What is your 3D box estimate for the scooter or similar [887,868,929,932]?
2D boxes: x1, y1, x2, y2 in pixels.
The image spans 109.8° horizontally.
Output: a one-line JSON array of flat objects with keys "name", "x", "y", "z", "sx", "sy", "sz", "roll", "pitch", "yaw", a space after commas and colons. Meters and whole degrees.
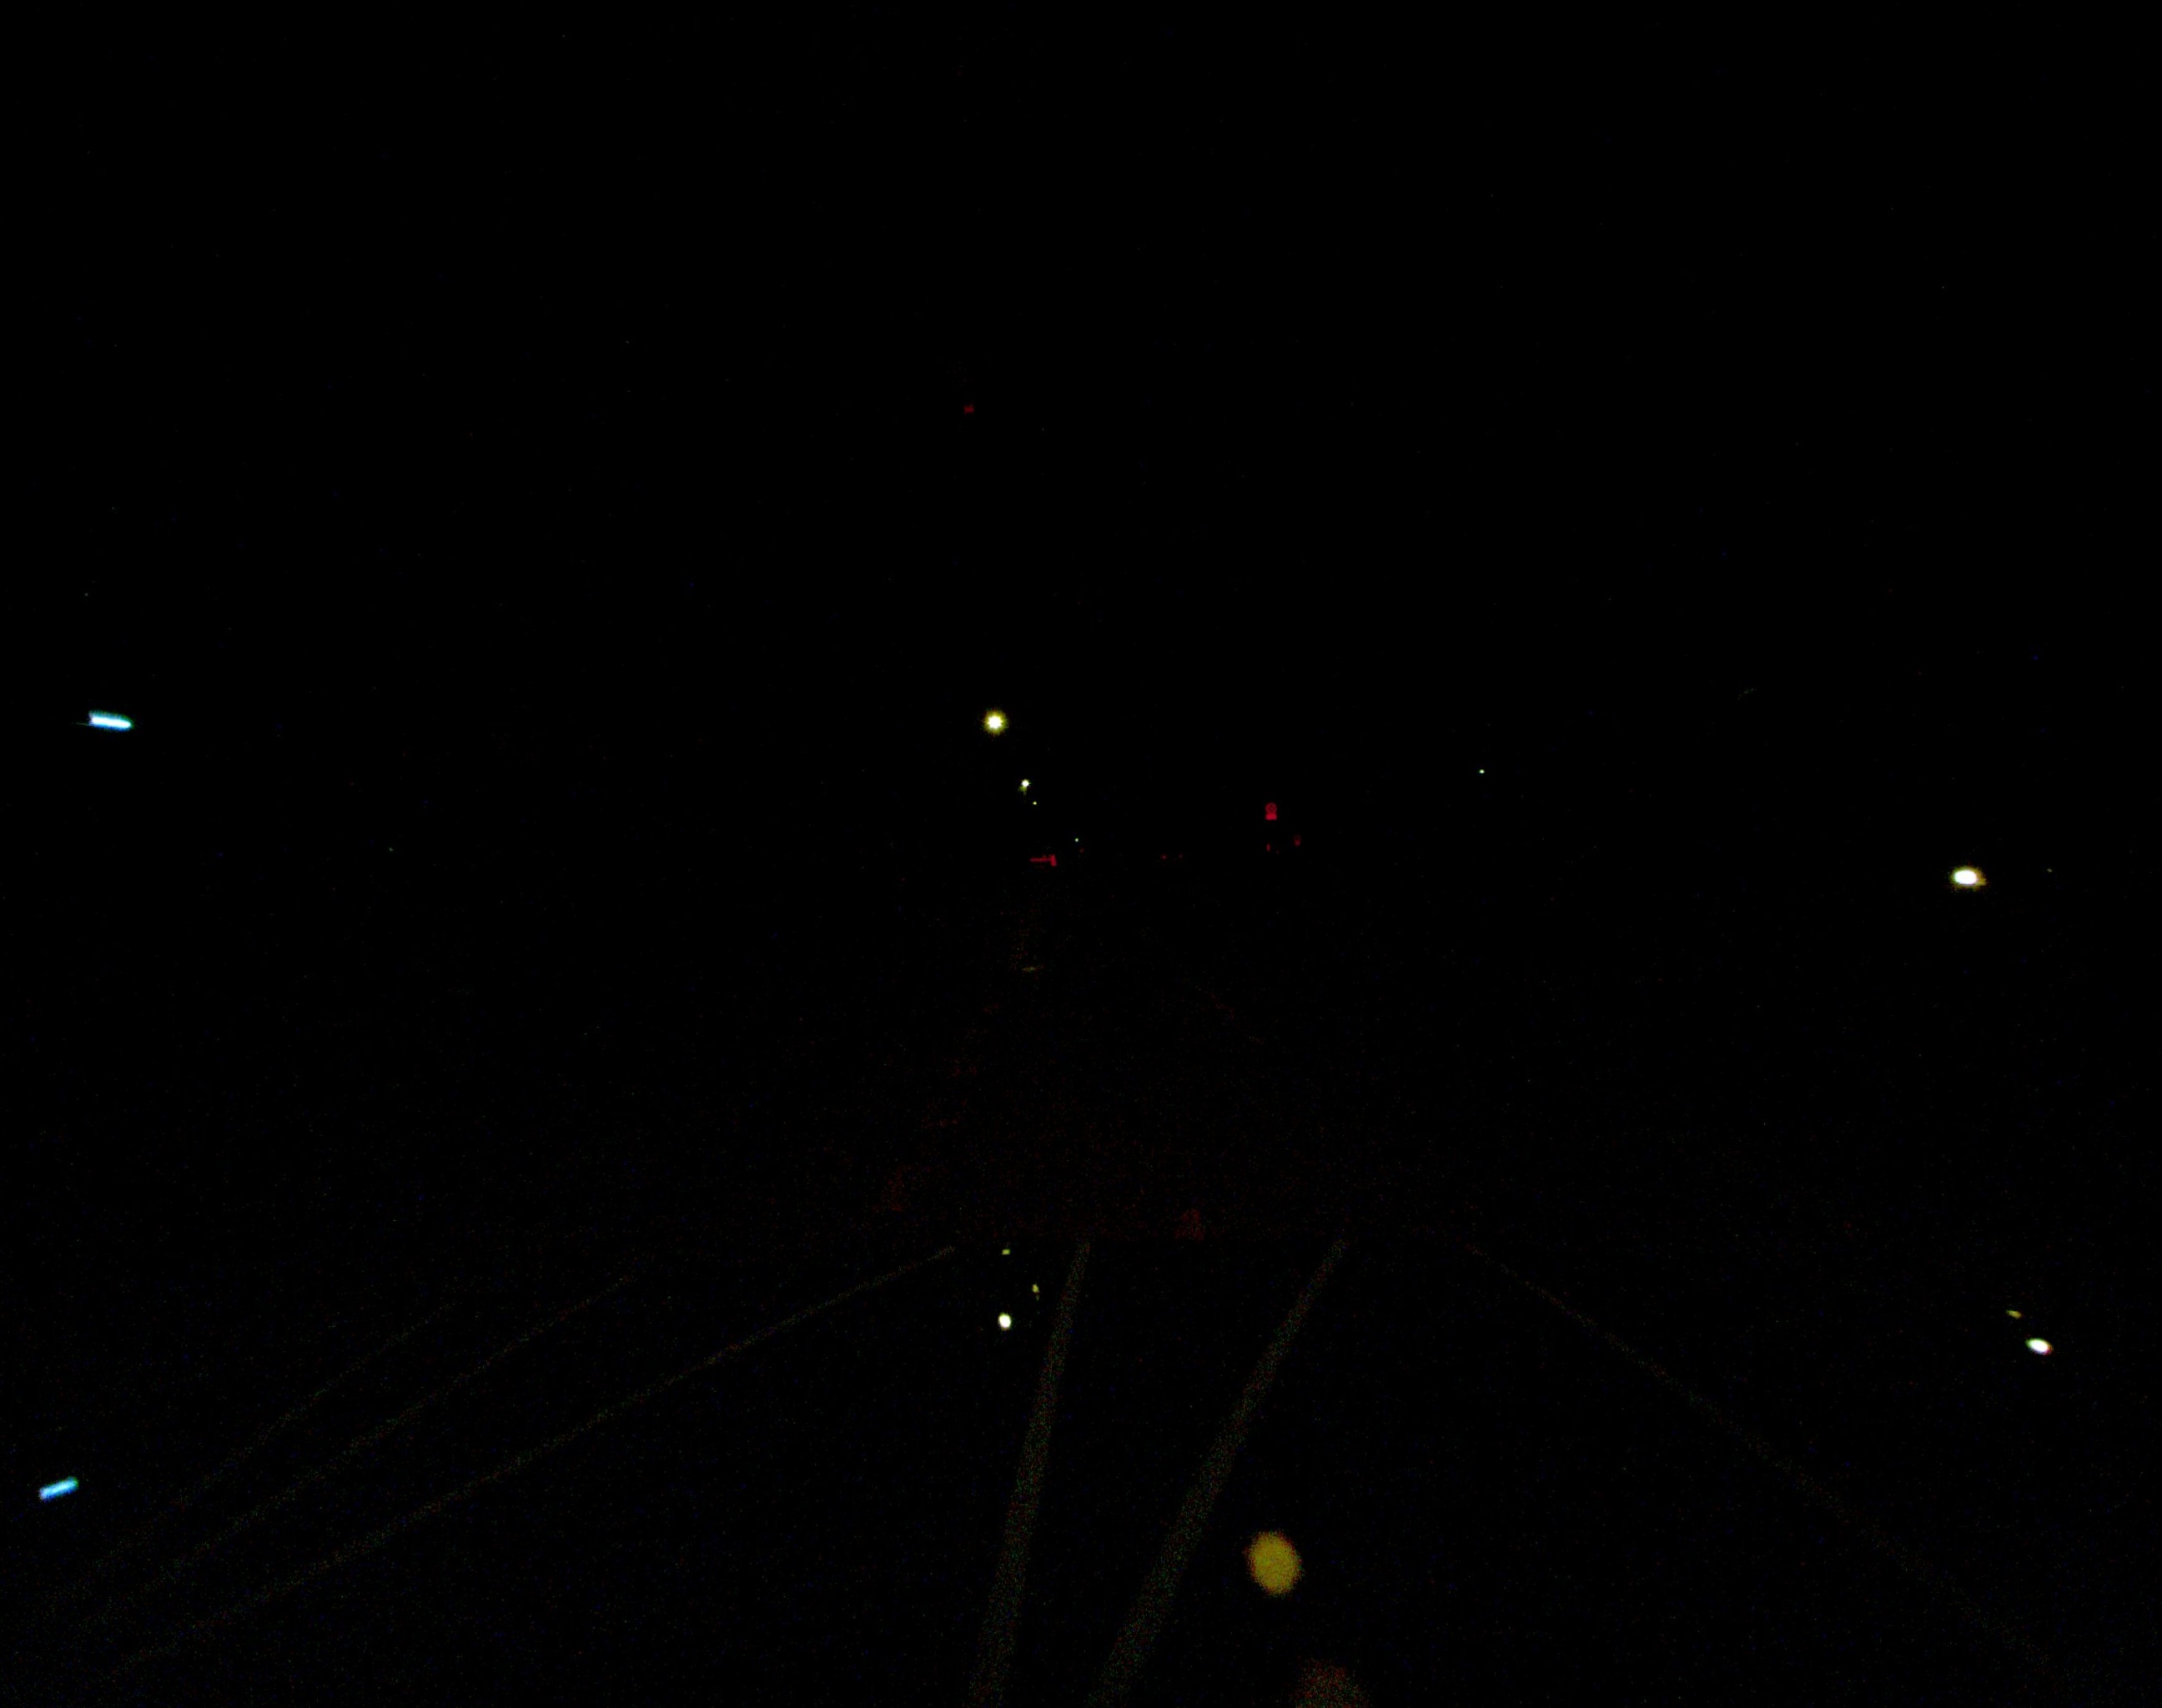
[{"name": "scooter or similar", "x": -3.663, "y": 0.959, "z": 16.190, "sx": 0.570, "sy": 1.271, "sz": 1.391, "roll": 0, "pitch": 0, "yaw": 0}]

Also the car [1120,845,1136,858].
[{"name": "car", "x": 6.148, "y": -0.333, "z": 100.177, "sx": 1.911, "sy": 1.445, "sz": 3.999, "roll": -3, "pitch": 2, "yaw": 1}]

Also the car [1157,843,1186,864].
[{"name": "car", "x": 7.228, "y": -0.048, "z": 61.005, "sx": 1.911, "sy": 1.445, "sz": 3.999, "roll": -3, "pitch": 2, "yaw": 1}]

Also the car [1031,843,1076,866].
[{"name": "car", "x": -2.563, "y": 0.022, "z": 70.645, "sx": 3.997, "sy": 1.821, "sz": 1.912, "roll": -3, "pitch": 2, "yaw": 0}]

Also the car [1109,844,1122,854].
[{"name": "car", "x": 5.400, "y": -0.815, "z": 118.489, "sx": 1.911, "sy": 1.445, "sz": 3.999, "roll": -3, "pitch": 2, "yaw": 1}]

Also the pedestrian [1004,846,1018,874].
[{"name": "pedestrian", "x": -4.803, "y": 0.405, "z": 52.137, "sx": 0.824, "sy": 1.809, "sz": 0.608, "roll": -3, "pitch": 2, "yaw": 1}]
